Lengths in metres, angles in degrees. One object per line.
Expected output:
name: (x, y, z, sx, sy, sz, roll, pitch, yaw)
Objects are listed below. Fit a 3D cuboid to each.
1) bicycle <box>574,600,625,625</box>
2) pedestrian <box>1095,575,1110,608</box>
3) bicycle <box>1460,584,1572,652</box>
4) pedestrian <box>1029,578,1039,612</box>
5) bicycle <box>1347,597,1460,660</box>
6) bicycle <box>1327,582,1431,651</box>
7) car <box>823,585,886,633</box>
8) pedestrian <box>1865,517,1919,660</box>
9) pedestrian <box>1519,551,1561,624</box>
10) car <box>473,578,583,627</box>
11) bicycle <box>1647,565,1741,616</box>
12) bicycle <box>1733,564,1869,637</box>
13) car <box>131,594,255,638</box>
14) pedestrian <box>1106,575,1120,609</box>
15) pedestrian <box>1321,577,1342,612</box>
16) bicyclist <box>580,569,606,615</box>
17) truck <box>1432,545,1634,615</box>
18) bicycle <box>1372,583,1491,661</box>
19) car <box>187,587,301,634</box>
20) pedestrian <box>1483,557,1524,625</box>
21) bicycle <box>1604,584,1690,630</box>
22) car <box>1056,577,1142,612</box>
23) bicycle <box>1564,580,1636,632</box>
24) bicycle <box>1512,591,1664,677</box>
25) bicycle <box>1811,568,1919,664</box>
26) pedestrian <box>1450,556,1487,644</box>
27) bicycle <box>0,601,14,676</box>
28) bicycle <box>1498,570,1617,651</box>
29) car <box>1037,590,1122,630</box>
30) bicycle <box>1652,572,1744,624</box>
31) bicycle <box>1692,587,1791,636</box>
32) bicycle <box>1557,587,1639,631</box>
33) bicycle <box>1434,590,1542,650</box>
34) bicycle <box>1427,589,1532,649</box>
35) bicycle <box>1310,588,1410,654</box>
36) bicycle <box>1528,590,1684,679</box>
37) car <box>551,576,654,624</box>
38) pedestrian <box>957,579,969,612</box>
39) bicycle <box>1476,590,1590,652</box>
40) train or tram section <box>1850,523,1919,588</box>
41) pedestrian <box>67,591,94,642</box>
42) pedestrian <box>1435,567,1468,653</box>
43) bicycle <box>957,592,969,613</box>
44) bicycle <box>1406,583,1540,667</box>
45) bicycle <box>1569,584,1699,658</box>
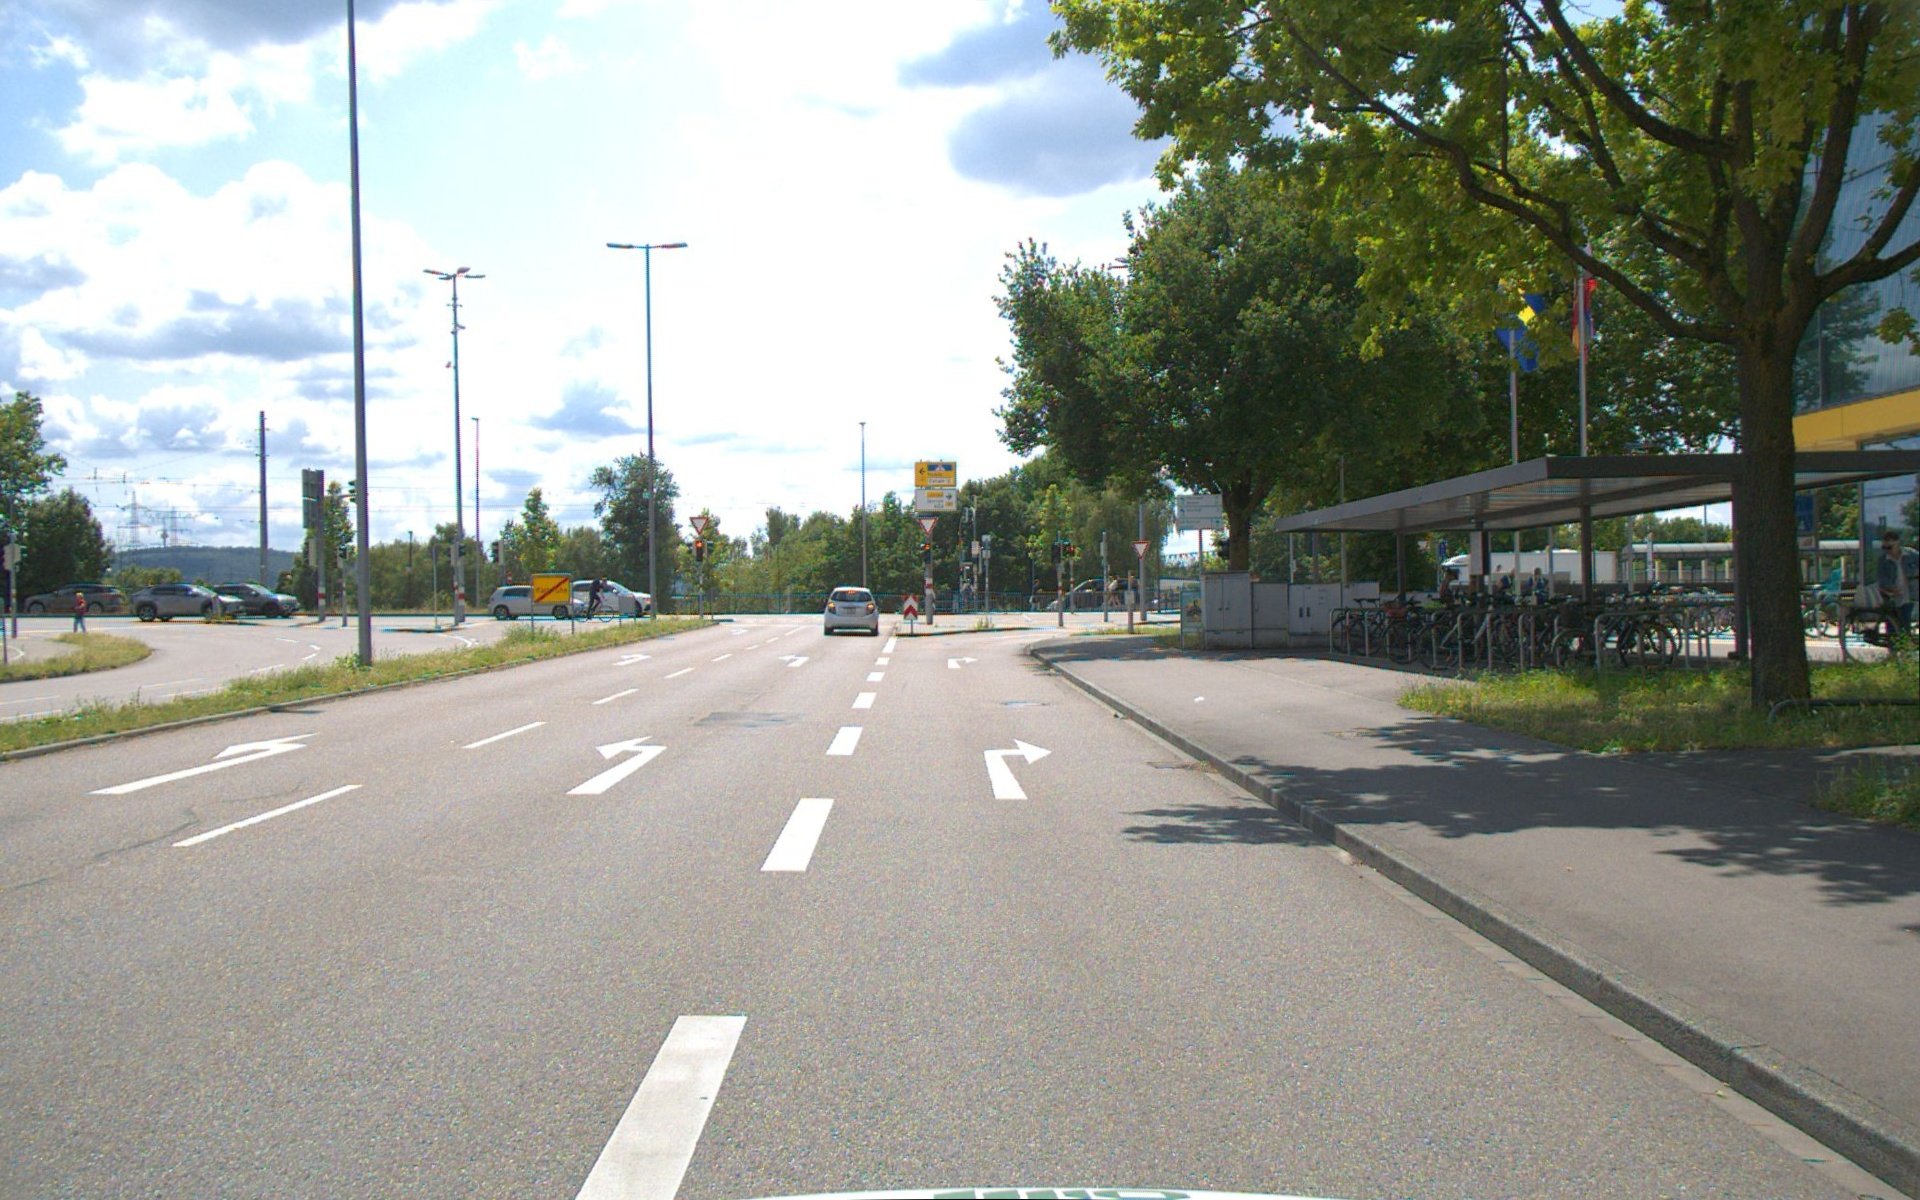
bicycle: (-14.963, 0.506, 68.603, 1.976, 1.016, 0.622, 0, 0, -2)
pedestrian: (7.698, -0.451, 89.239, 0.691, 1.751, 0.601, -2, 0, 1)
bicycle: (9.841, 0.312, 29.283, 1.826, 1.135, 0.423, -2, 0, -6)
pedestrian: (3.905, -0.281, 87.444, 0.512, 1.751, 0.730, -2, 0, 2)
bicycle: (7.700, 0.490, 28.723, 1.826, 1.012, 0.423, -2, 0, -6)
bicycle: (7.827, 0.306, 30.911, 1.826, 1.208, 0.423, -2, 0, -6)
car: (-3.385, 0.264, 53.805, 1.856, 1.495, 3.833, 1, 1, -1)
pedestrian: (11.765, -0.140, 20.745, 0.622, 1.752, 0.523, -3, -2, 34)
pedestrian: (16.904, -0.355, 48.215, 0.986, 2.108, 0.975, -1, -1, 13)
car: (-18.856, 0.100, 72.287, 4.261, 2.024, 1.999, -2, 0, -2)
bicycle: (15.427, -0.193, 34.780, 1.826, 1.012, 0.423, -2, 0, -6)
bicycle: (15.713, 0.009, 30.944, 2.094, 1.251, 0.721, -3, 0, 8)
car: (-33.236, 0.682, 71.756, 4.414, 1.704, 1.903, -2, -1, -2)
pedestrian: (8.180, -0.426, 88.504, 0.662, 1.778, 0.637, -1, 2, 1)
pedestrian: (20.103, -0.295, 89.575, 0.908, 1.839, 0.736, -1, 0, -2)
bicyclist: (-15.211, -0.336, 68.584, 0.902, 1.878, 0.611, -1, 0, -2)
truck: (35.942, -1.236, 104.002, 11.715, 4.176, 2.951, -1, 0, -1)
bicycle: (7.783, 0.357, 27.295, 1.826, 1.208, 0.423, -2, 0, -6)
car: (-32.622, 0.464, 75.454, 4.261, 2.024, 1.999, -2, 0, -2)
pedestrian: (15.717, -0.252, 47.849, 0.986, 1.935, 0.975, -1, -1, 13)
bicycle: (15.789, 0.160, 38.029, 1.826, 1.012, 0.464, -1, 0, -6)
car: (7.793, -0.315, 92.862, 4.558, 1.852, 1.999, -2, 0, -2)
bicycle: (15.256, 0.145, 39.423, 1.649, 1.177, 0.459, -2, 0, -16)
bicycle: (8.211, 0.438, 21.641, 1.826, 1.012, 0.423, -3, 0, -6)
bicycle: (11.613, 0.183, 20.307, 1.975, 1.127, 0.575, -3, -1, 37)
pedestrian: (9.874, -0.005, 32.115, 0.533, 1.691, 0.478, -1, 0, -3)
bicycle: (-22.613, 0.908, 37.600, 0.997, 1.704, 2.048, -2, 0, -1)
bicycle: (9.893, 0.174, 27.410, 1.826, 1.253, 0.423, -2, 0, -6)
car: (5.885, 0.470, 81.694, 3.908, 1.814, 1.909, -2, 0, -4)
bicycle: (15.980, -0.045, 35.826, 1.826, 1.012, 0.423, -3, -1, -6)
bicycle: (15.762, 0.226, 33.347, 1.826, 0.897, 0.423, -2, 0, -6)
bicycle: (15.606, 0.226, 40.464, 1.824, 1.012, 0.424, -2, 0, 0)
bicycle: (9.556, 0.353, 29.934, 1.826, 1.012, 0.423, -2, 0, -6)
bicycle: (9.795, 0.357, 31.196, 1.824, 1.052, 0.424, -2, 0, 0)
bicycle: (7.792, 0.407, 32.228, 1.826, 1.208, 0.423, -2, 0, -6)
bicycle: (8.254, 0.435, 21.152, 1.826, 1.012, 0.423, -3, 0, -6)
car: (-16.278, -0.004, 75.485, 4.261, 2.024, 1.999, -2, 0, -2)
pedestrian: (0.171, -0.236, 89.432, 0.598, 1.800, 0.672, -1, 0, 0)
bicycle: (9.912, 0.367, 28.636, 1.826, 1.012, 0.423, -2, -1, -6)
train or tram section: (53.679, -2.338, 85.848, 13.780, 3.242, 3.044, -1, 0, -5)
pedestrian: (-32.069, 0.598, 60.305, 0.787, 1.870, 0.858, 1, -1, -30)
pedestrian: (9.807, 0.201, 32.998, 0.532, 1.691, 0.546, -1, 0, 9)
bicycle: (0.174, 0.130, 89.467, 0.606, 1.106, 1.722, -1, 0, 0)
bicycle: (7.767, 0.376, 25.066, 1.857, 1.190, 0.424, -2, 0, 0)
bicycle: (10.311, 0.320, 25.319, 1.826, 1.012, 0.423, -3, -1, -6)
